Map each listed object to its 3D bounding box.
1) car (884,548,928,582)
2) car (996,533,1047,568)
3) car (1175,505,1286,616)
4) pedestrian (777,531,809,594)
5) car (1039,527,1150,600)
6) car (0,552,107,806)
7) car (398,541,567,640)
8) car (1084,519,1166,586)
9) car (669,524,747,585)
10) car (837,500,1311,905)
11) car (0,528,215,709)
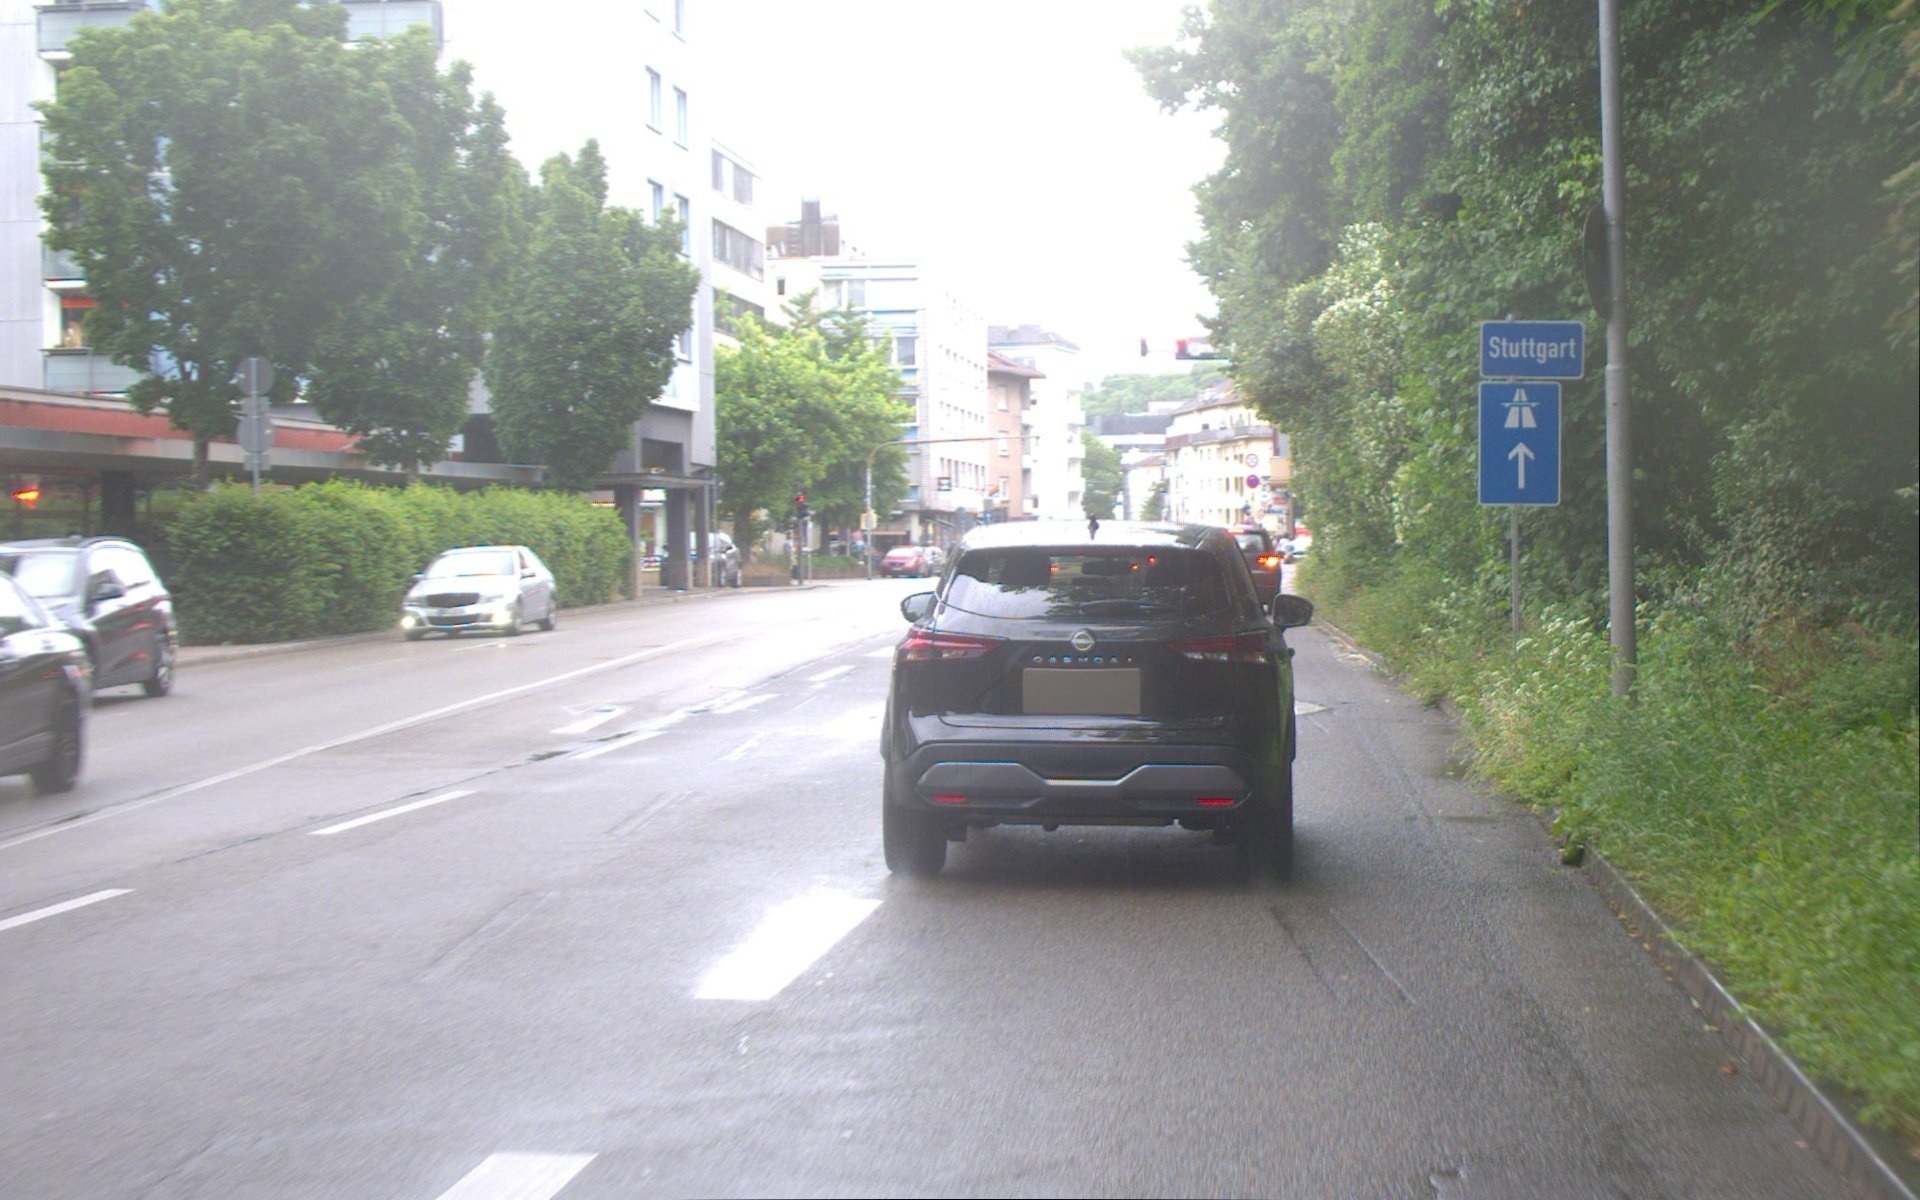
[{"bbox_3d":[-2.401,-1.586,154.877,1.673,1.473,3.608,-2,1,3],"label":"car"},{"bbox_3d":[2.689,-2.179,150.953,1.993,1.448,4.001,-1,1,-2],"label":"car"},{"bbox_3d":[5.125,-0.764,64.891,1.994,2.007,3.999,-1,1,5],"label":"car"},{"bbox_3d":[-5.445,-1.237,111.912,0.940,2.007,0.887,-2,1,-4],"label":"pedestrian"},{"bbox_3d":[2.872,-0.789,72.430,2.066,1.459,4.586,-1,1,5],"label":"car"},{"bbox_3d":[-6.266,0.481,19.356,1.841,1.380,4.360,-3,1,-1],"label":"car"},{"bbox_3d":[-7.471,-0.179,54.208,1.874,1.386,4.627,-2,1,1],"label":"car"},{"bbox_3d":[3.887,-1.127,80.518,1.744,1.482,4.161,-1,1,5],"label":"car"},{"bbox_3d":[-7.094,-1.296,97.067,1.539,1.700,4.287,0,1,5],"label":"car"},{"bbox_3d":[0.585,0.376,16.382,1.960,1.647,4.000,-1,2,3],"label":"car"},{"bbox_3d":[-8.772,0.139,33.569,1.874,1.597,4.464,-2,1,1],"label":"car"}]
